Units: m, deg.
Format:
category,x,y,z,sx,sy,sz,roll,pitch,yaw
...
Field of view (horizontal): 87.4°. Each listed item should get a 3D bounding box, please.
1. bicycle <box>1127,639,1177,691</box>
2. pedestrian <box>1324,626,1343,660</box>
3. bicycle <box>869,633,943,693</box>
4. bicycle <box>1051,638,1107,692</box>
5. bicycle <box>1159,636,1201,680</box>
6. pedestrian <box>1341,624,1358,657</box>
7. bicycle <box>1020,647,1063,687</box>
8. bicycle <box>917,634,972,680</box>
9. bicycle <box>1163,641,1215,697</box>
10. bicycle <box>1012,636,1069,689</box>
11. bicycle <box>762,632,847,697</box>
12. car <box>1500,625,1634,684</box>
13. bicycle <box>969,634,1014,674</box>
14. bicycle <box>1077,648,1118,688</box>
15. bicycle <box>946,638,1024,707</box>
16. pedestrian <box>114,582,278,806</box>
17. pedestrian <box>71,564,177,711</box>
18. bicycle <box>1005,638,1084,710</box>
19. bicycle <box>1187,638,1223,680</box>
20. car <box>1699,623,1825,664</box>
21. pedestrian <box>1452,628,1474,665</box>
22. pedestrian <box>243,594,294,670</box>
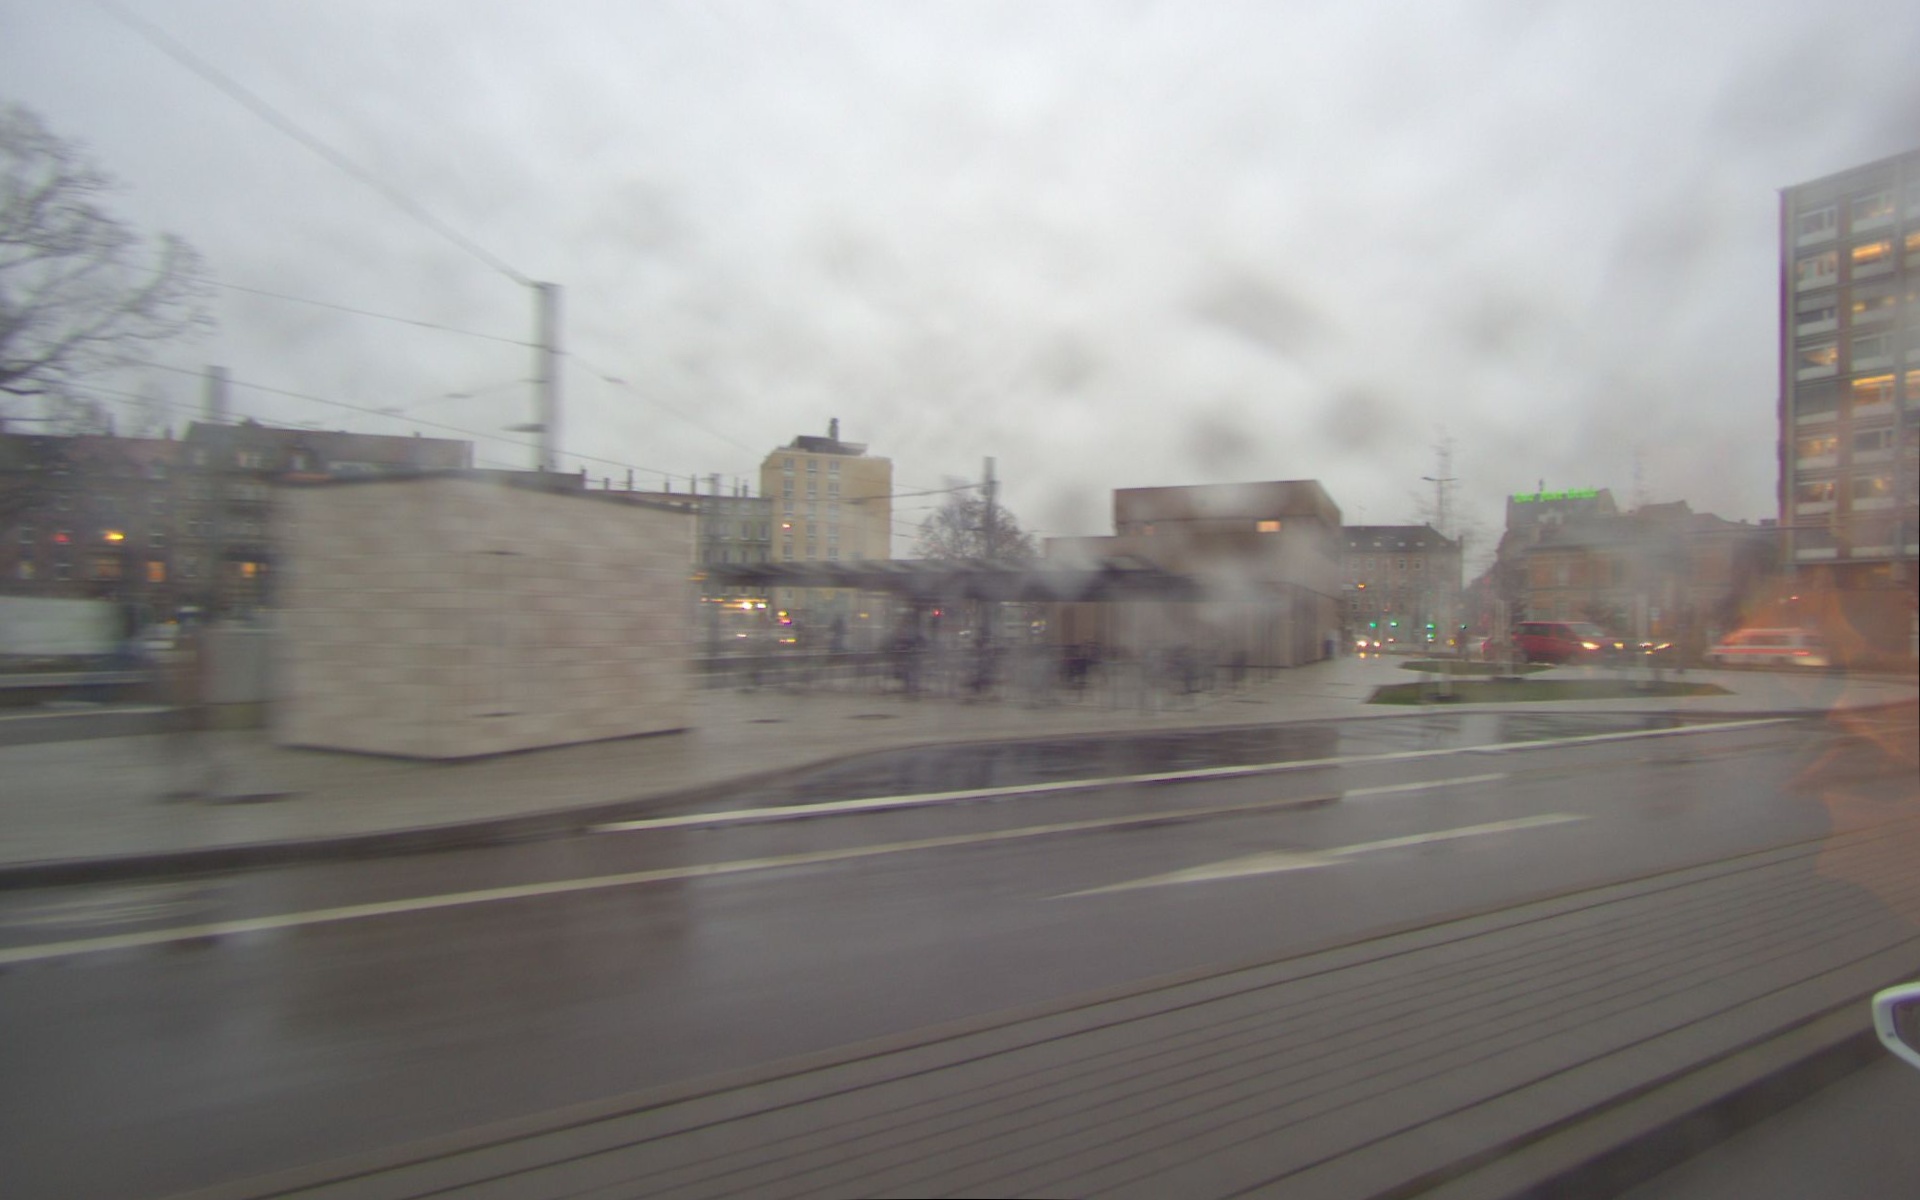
category,x,y,z,sx,sy,sz,roll,pitch,yaw
bicycle,4.726,1.576,24.612,0.541,1.180,1.895,3,-1,31
pedestrian,20.770,2.396,55.854,0.670,1.839,0.692,3,0,-16
bicycle,-1.106,1.302,21.103,0.541,1.180,1.895,3,-1,31
bicycle,2.813,1.506,23.649,0.541,1.180,1.895,3,-1,31
bicycle,6.295,1.635,28.670,0.541,1.180,1.895,3,-1,31
pedestrian,21.706,2.280,56.021,0.576,1.795,0.610,3,0,-16
bicycle,2.571,2.086,31.564,0.541,1.180,1.895,3,-1,31
bicycle,-0.402,1.540,27.481,0.541,1.180,1.895,3,-1,31
bicycle,5.202,1.537,22.757,0.541,1.180,1.895,3,-1,31
bicycle,1.948,1.472,24.053,0.541,1.180,1.895,3,-1,31
bicycle,-3.040,1.251,19.845,0.541,1.180,1.895,3,-1,31
car,26.996,2.371,44.937,2.220,2.311,5.025,3,-1,-13
bicycle,1.014,1.691,31.673,0.541,1.180,1.895,3,-1,31
bicycle,4.362,2.141,31.698,0.541,1.180,1.895,3,-1,31
bicycle,0.495,1.309,18.561,0.541,1.180,1.895,3,-1,31
pedestrian,-6.153,0.731,8.129,0.716,1.696,0.675,3,0,2
pedestrian,-10.987,0.485,13.213,0.593,1.837,0.825,3,0,25
bicycle,1.521,1.277,17.727,0.541,1.180,1.939,3,-1,31
bicycle,7.260,1.720,29.735,0.540,1.180,1.896,3,-1,28
car,42.754,2.262,53.745,1.965,1.938,5.157,1,0,-13
pedestrian,24.371,2.256,48.664,0.781,1.719,0.461,3,0,-6
pedestrian,-16.680,0.761,24.240,0.701,1.780,0.717,2,-1,26
